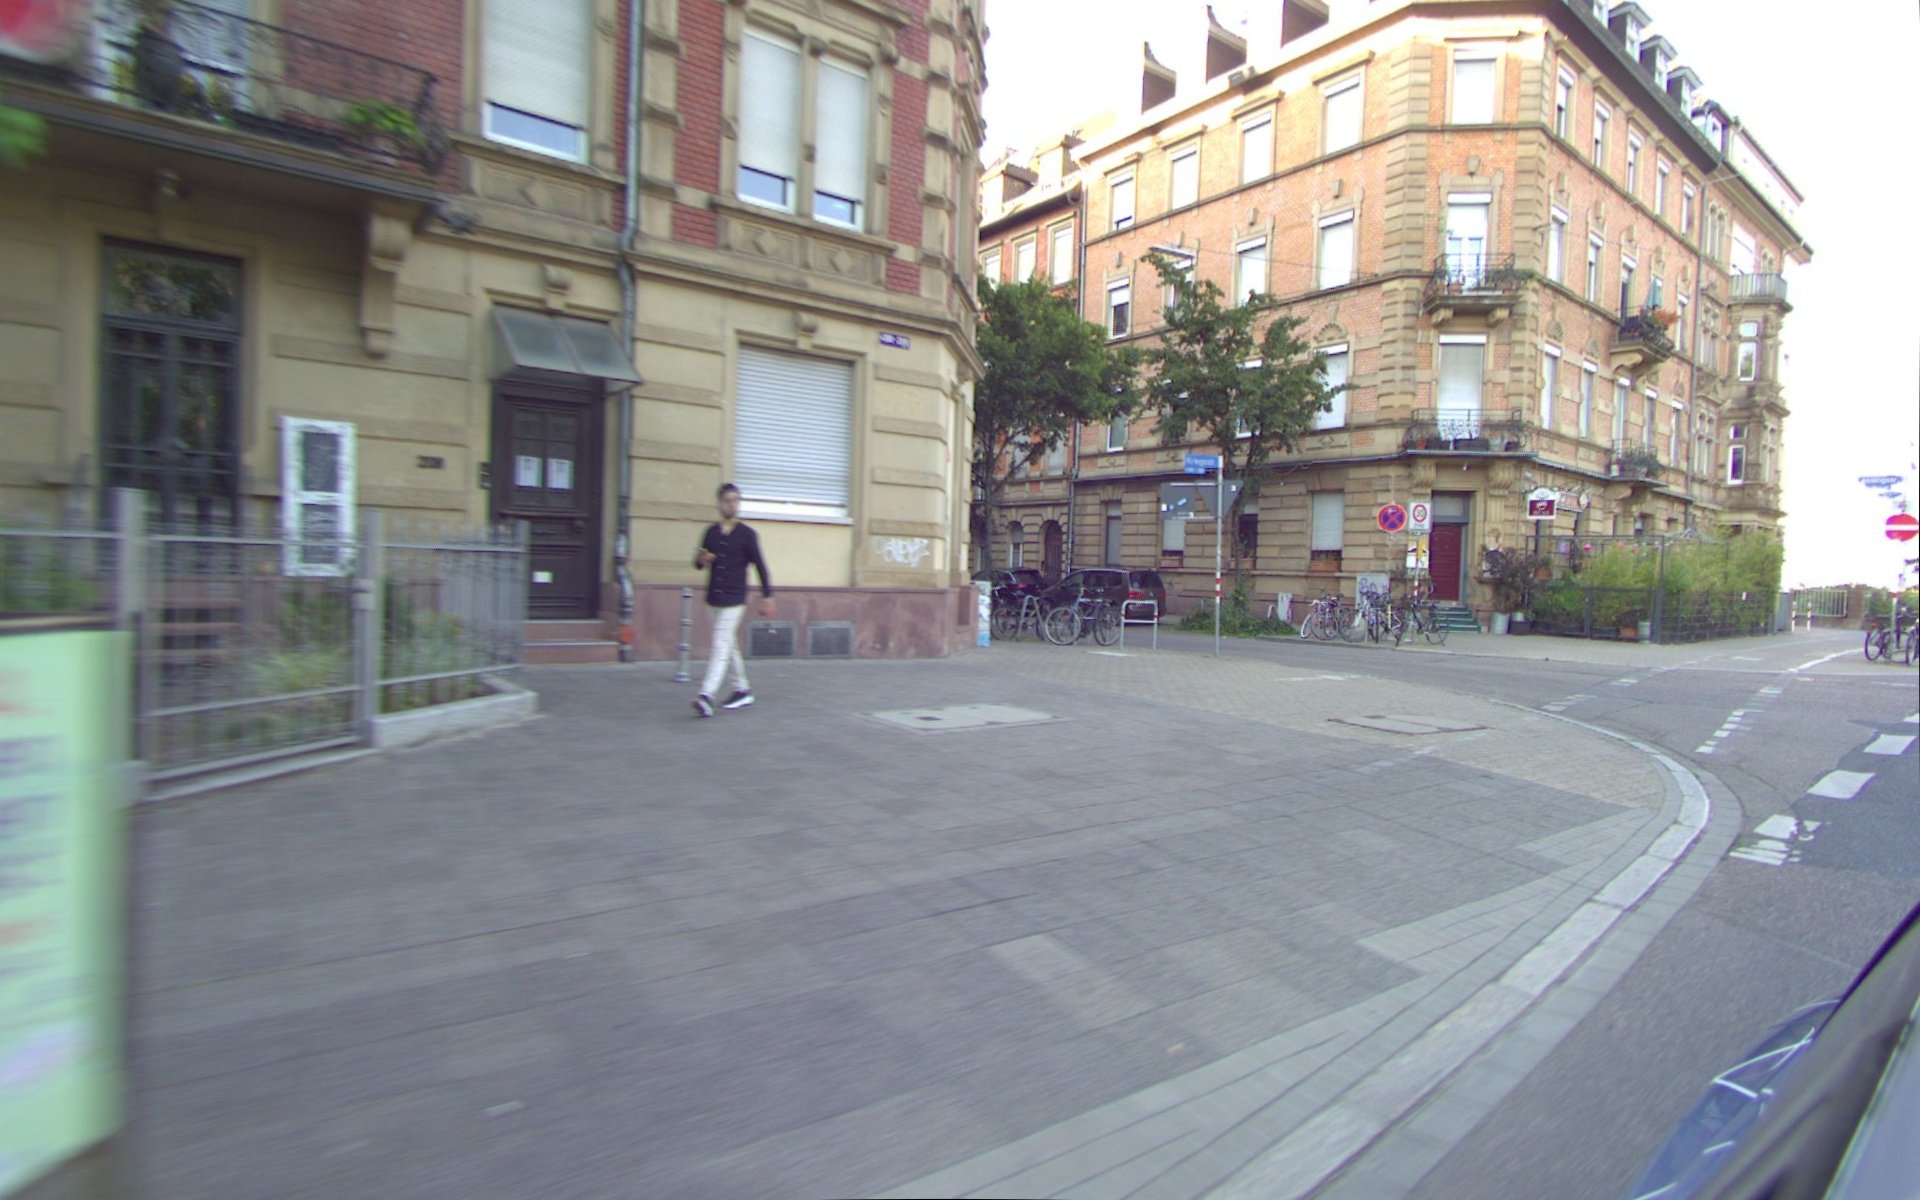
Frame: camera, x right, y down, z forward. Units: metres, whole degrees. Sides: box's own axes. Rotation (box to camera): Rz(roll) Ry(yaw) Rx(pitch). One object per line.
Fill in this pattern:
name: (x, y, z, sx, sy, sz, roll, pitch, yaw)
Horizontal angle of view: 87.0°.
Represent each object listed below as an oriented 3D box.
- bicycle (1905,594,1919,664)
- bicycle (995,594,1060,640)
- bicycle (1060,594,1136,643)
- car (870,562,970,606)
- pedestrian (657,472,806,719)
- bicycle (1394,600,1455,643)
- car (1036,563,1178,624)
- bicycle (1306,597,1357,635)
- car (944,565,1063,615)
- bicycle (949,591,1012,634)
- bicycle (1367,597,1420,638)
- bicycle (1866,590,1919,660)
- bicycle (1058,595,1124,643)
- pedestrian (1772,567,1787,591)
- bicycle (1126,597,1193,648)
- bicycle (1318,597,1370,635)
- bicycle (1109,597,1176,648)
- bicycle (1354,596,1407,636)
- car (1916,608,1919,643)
bicycle: (19.660, 0.564, 20.404, 2.226, 1.314, 0.567, -2, 7, -41)
bicycle: (1.350, 0.343, 20.026, 1.470, 0.827, 0.295, 4, -3, -41)
bicycle: (2.533, 0.351, 18.492, 1.467, 0.827, 0.296, 4, -3, -29)
car: (-1.553, -0.628, 37.683, 1.813, 1.541, 4.000, 0, 2, -36)
pedestrian: (-1.790, -0.058, 7.904, 0.817, 1.799, 0.747, 0, 4, -40)
bicycle: (9.929, 0.450, 21.615, 1.701, 0.827, 0.295, -2, 1, -32)
car: (4.202, -0.225, 29.434, 1.813, 1.626, 4.000, 0, 2, -36)
bicycle: (8.735, 0.365, 23.777, 1.468, 0.827, 0.295, -2, 1, -32)
car: (1.378, -0.370, 33.423, 1.813, 1.541, 4.000, 0, 2, -36)
bicycle: (0.434, 0.278, 21.191, 1.470, 0.827, 0.295, 4, -3, -41)
bicycle: (9.708, 0.383, 22.656, 1.468, 0.827, 0.295, -2, 1, -32)
bicycle: (19.281, 0.486, 20.838, 2.226, 1.290, 0.567, -2, 7, -41)
bicycle: (2.467, 0.368, 18.989, 1.470, 0.827, 0.295, 4, -3, -41)
pedestrian: (30.741, -0.773, 37.956, 0.313, 0.881, 0.310, 0, 0, -8)
bicycle: (3.493, 0.408, 17.659, 1.470, 0.827, 0.292, 4, -3, -41)
bicycle: (8.921, 0.363, 23.512, 1.468, 0.827, 0.295, -2, 1, -32)
bicycle: (3.242, 0.411, 17.924, 1.470, 0.827, 0.292, 4, -3, -41)
bicycle: (9.535, 0.353, 22.923, 1.468, 0.827, 0.295, -2, 1, -32)
car: (26.965, 0.469, 26.920, 3.483, 1.482, 1.731, 0, 5, -40)
